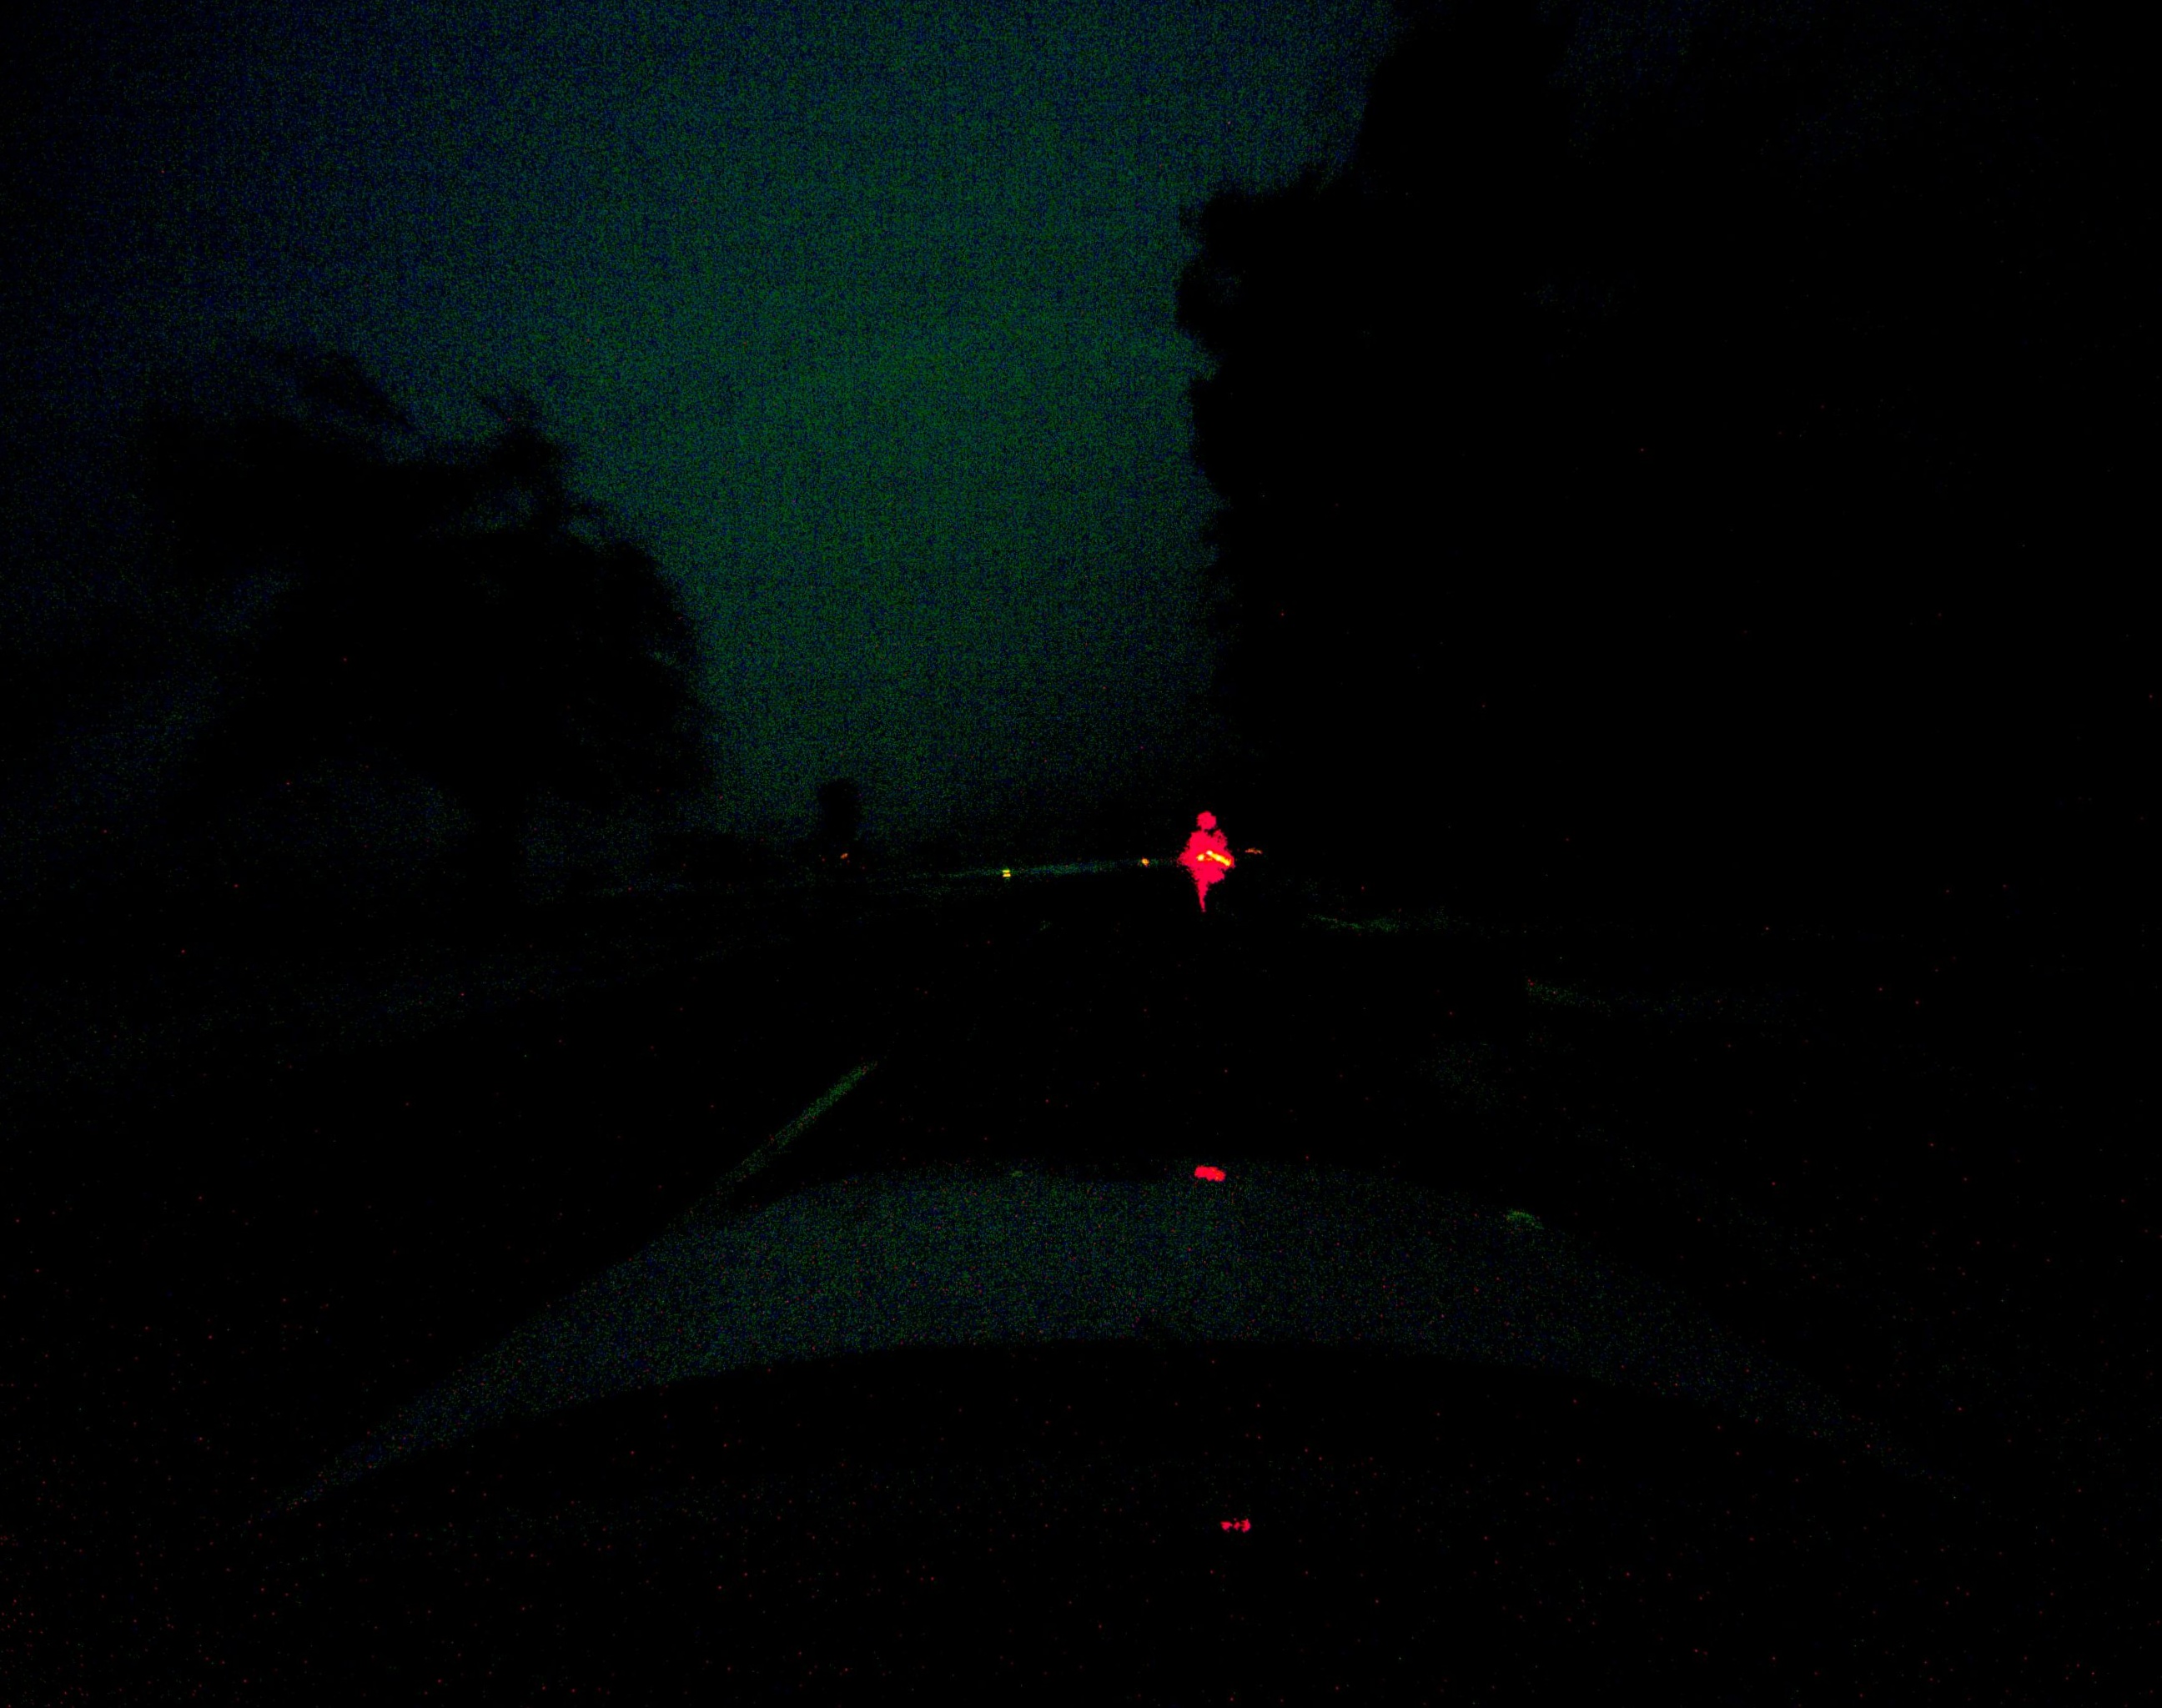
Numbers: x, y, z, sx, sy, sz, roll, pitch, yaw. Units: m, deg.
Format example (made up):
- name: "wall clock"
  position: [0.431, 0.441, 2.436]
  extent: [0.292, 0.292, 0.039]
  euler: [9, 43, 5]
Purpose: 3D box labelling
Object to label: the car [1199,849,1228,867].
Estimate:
- name: "car"
  position: [10.383, 0.291, 63.657]
  extent: [1.909, 1.276, 4.014]
  euler: [-2, 1, 12]
